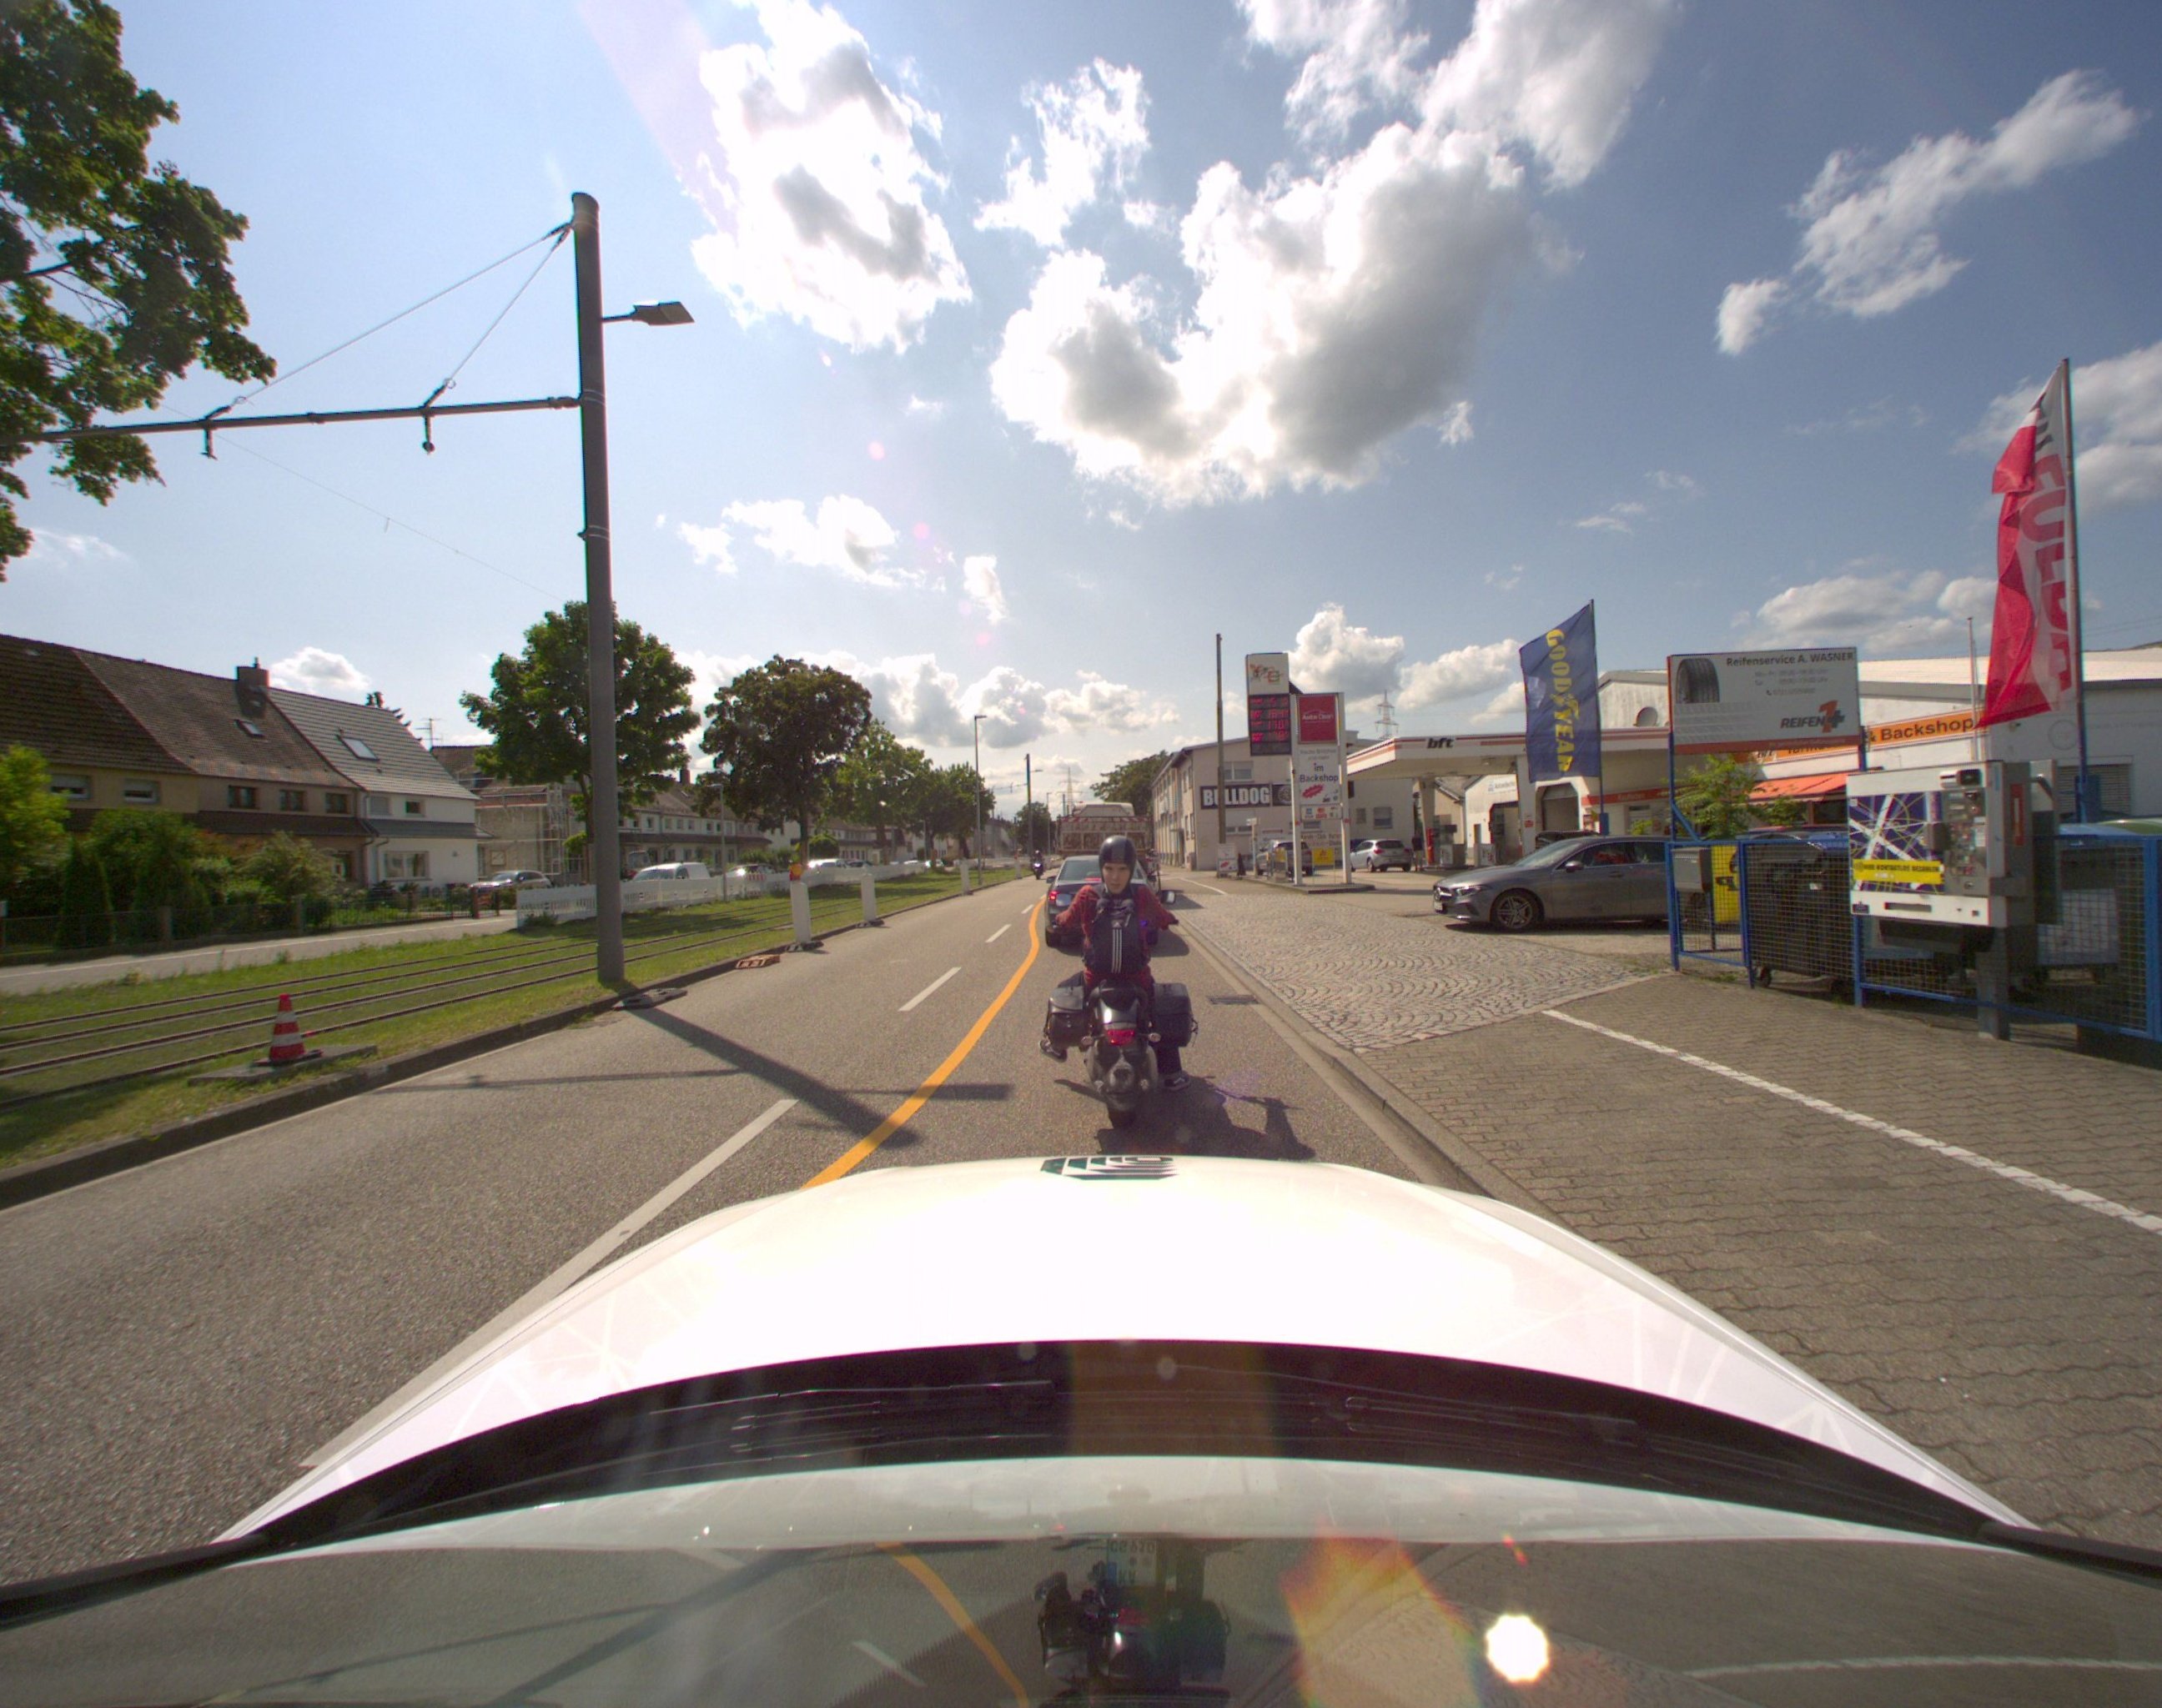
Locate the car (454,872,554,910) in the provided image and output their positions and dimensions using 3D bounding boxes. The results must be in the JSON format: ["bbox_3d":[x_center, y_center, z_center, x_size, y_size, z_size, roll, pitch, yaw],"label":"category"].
[{"bbox_3d":[-27.435,1.727,38.906,1.769,1.519,4.002,-2,0,2],"label":"car"}]

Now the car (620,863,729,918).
[{"bbox_3d":[-15.429,1.316,31.166,1.769,1.821,4.366,-2,0,2],"label":"car"}]

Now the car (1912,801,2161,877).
[{"bbox_3d":[21.523,-0.340,18.175,4.180,1.463,1.587,-2,0,2],"label":"car"}]

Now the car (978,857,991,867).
[{"bbox_3d":[-19.089,1.540,161.365,1.769,1.722,4.252,-2,0,2],"label":"car"}]

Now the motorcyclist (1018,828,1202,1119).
[{"bbox_3d":[0.180,0.675,5.152,0.975,1.602,1.088,-2,0,1],"label":"motorcyclist"}]

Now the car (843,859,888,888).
[{"bbox_3d":[-14.802,1.338,56.049,1.769,1.805,4.130,-2,0,2],"label":"car"}]

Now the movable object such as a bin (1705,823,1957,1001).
[{"bbox_3d":[6.690,0.477,7.369,1.104,1.436,1.244,-2,0,1],"label":"movable object such as a bin"}]

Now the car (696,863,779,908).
[{"bbox_3d":[-15.407,1.372,36.810,1.769,1.774,4.230,-2,0,2],"label":"car"}]

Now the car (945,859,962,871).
[{"bbox_3d":[-19.629,1.642,125.928,1.769,1.722,4.130,-2,0,2],"label":"car"}]

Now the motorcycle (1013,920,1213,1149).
[{"bbox_3d":[0.205,1.024,5.455,0.975,0.897,2.654,-2,0,2],"label":"motorcycle"}]

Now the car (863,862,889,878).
[{"bbox_3d":[-24.385,1.844,97.054,1.769,1.722,4.130,-2,0,2],"label":"car"}]

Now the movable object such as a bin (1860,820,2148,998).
[{"bbox_3d":[8.084,0.444,7.229,1.104,1.396,1.244,-2,0,1],"label":"movable object such as a bin"}]

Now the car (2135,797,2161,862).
[{"bbox_3d":[26.527,-0.636,18.012,4.180,1.463,1.587,-2,0,2],"label":"car"}]

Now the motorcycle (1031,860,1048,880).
[{"bbox_3d":[-2.383,0.912,47.017,0.866,1.021,2.244,-2,0,-1],"label":"motorcycle"}]

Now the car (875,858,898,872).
[{"bbox_3d":[-25.156,1.407,105.215,1.769,1.722,4.130,-2,0,2],"label":"car"}]

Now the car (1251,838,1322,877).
[{"bbox_3d":[9.118,0.152,36.463,1.665,1.562,4.235,-2,0,-6],"label":"car"}]

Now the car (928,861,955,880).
[{"bbox_3d":[-13.725,1.636,80.466,1.769,1.722,4.130,-2,0,2],"label":"car"}]

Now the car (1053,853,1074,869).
[{"bbox_3d":[-1.745,0.663,83.648,1.816,1.452,4.326,-3,0,2],"label":"car"}]

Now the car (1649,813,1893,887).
[{"bbox_3d":[15.775,-0.088,18.768,4.180,1.463,1.587,-2,0,2],"label":"car"}]

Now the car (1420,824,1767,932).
[{"bbox_3d":[7.745,0.356,12.697,4.247,1.415,1.678,-2,0,9],"label":"car"}]

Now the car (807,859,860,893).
[{"bbox_3d":[-15.062,1.330,49.872,1.769,1.867,4.130,-2,0,2],"label":"car"}]

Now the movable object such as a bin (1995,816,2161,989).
[{"bbox_3d":[9.487,0.374,7.141,1.397,1.396,1.338,-2,0,1],"label":"movable object such as a bin"}]

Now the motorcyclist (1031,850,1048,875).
[{"bbox_3d":[-2.394,0.468,47.017,0.866,1.378,0.800,-2,0,-1],"label":"motorcyclist"}]

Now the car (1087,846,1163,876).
[{"bbox_3d":[2.601,0.423,47.702,4.206,1.543,1.676,-2,0,7],"label":"car"}]

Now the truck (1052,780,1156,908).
[{"bbox_3d":[0.732,-0.288,25.602,2.628,3.296,8.059,-2,0,2],"label":"truck"}]

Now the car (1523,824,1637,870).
[{"bbox_3d":[18.121,-0.246,29.794,1.800,1.503,3.833,-2,0,0],"label":"car"}]

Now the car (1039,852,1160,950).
[{"bbox_3d":[0.345,0.709,14.276,1.816,1.452,4.002,0,0,2],"label":"car"}]

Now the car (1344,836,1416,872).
[{"bbox_3d":[13.478,-0.006,36.930,1.800,1.503,3.832,-2,0,-1],"label":"car"}]

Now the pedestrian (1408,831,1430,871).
[{"bbox_3d":[14.654,-0.130,35.328,0.701,1.656,0.551,-2,0,37],"label":"pedestrian"}]
